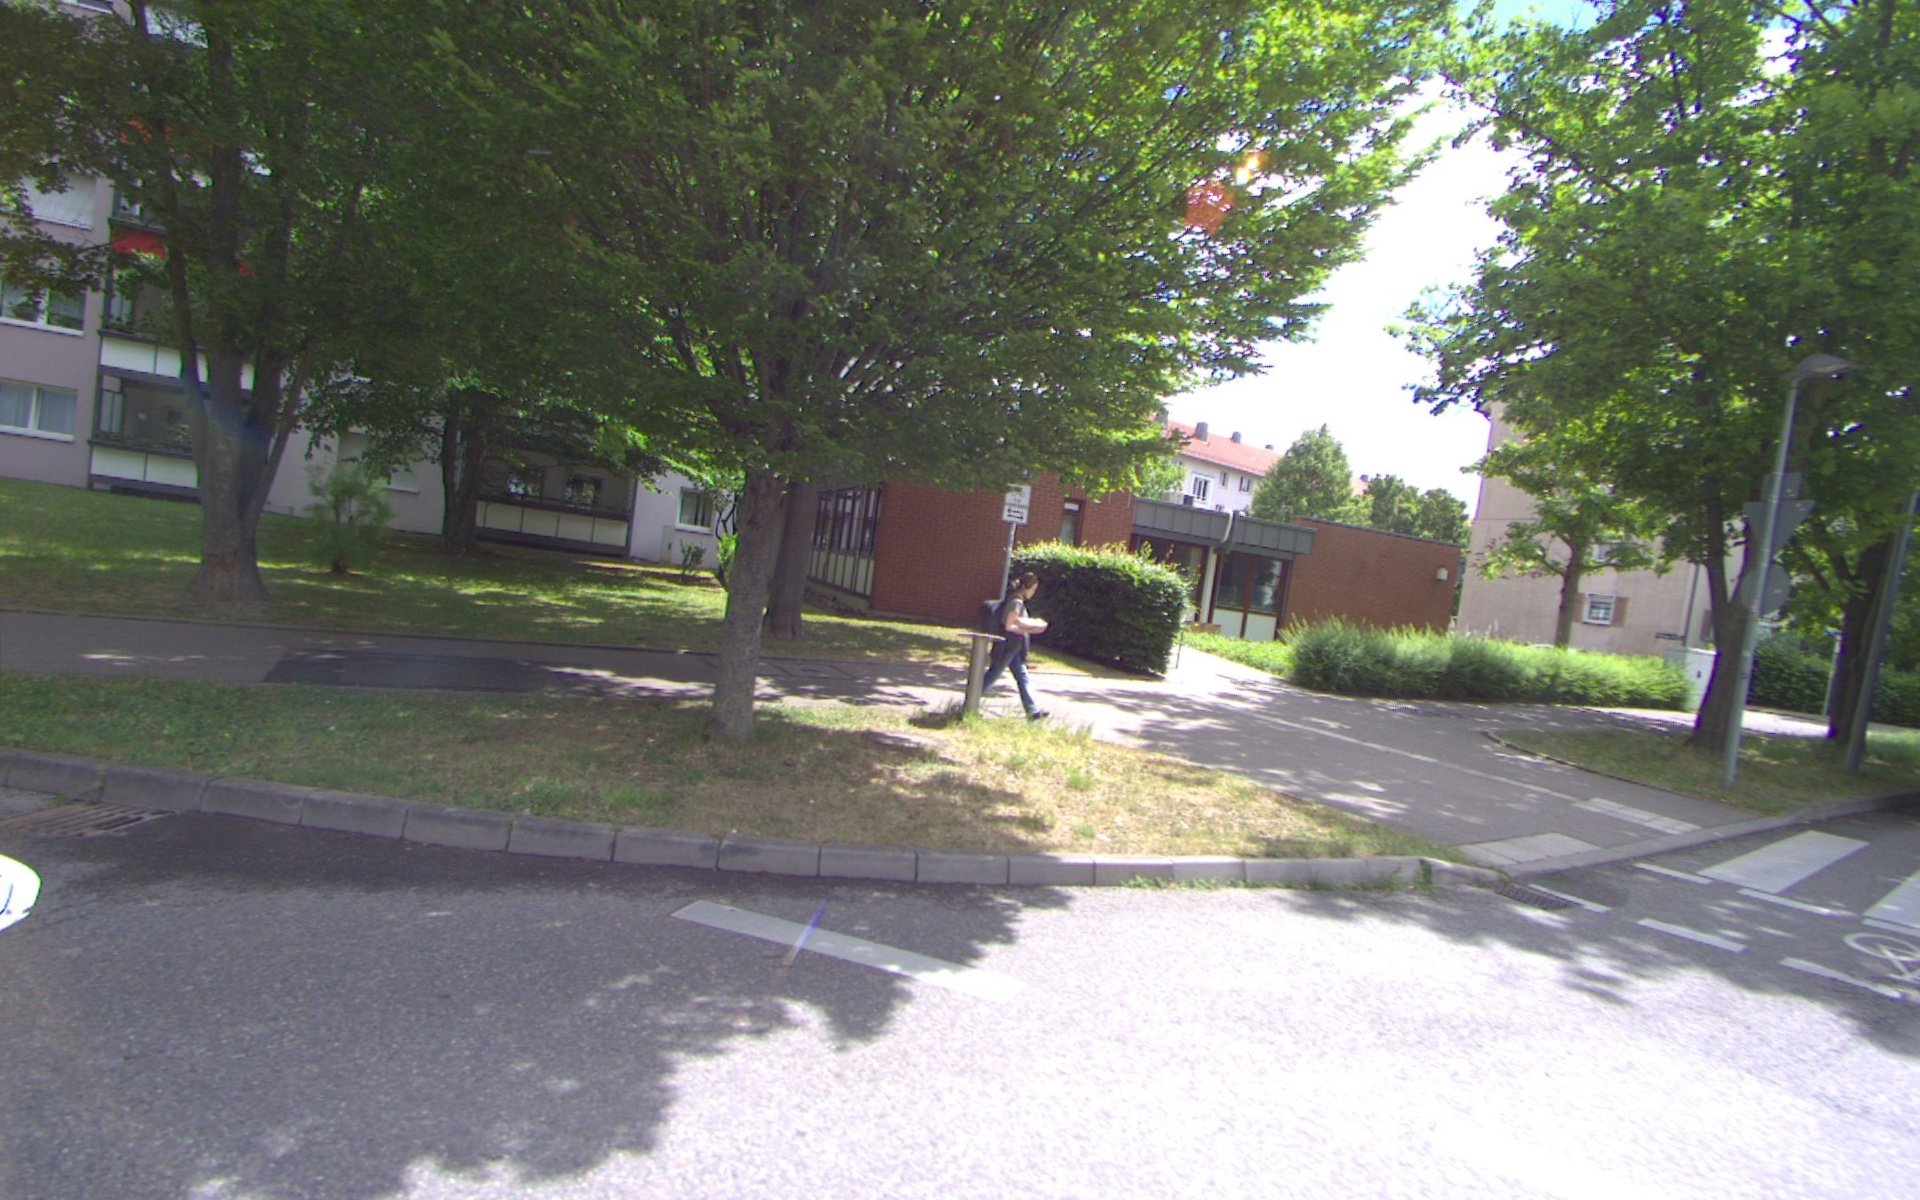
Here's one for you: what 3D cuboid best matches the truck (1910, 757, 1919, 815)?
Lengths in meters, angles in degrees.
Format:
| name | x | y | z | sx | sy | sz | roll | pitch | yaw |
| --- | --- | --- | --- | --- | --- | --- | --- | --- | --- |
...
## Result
| name | x | y | z | sx | sy | sz | roll | pitch | yaw |
| --- | --- | --- | --- | --- | --- | --- | --- | --- | --- |
| truck | 16.887 | 1.227 | 13.894 | 9.699 | 4.206 | 2.764 | 7 | 2 | -33 |

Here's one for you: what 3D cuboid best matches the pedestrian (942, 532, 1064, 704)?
| name | x | y | z | sx | sy | sz | roll | pitch | yaw |
| --- | --- | --- | --- | --- | --- | --- | --- | --- | --- |
| pedestrian | 0.416 | 0.174 | 9.944 | 0.830 | 1.601 | 0.715 | 3 | 5 | -29 |
